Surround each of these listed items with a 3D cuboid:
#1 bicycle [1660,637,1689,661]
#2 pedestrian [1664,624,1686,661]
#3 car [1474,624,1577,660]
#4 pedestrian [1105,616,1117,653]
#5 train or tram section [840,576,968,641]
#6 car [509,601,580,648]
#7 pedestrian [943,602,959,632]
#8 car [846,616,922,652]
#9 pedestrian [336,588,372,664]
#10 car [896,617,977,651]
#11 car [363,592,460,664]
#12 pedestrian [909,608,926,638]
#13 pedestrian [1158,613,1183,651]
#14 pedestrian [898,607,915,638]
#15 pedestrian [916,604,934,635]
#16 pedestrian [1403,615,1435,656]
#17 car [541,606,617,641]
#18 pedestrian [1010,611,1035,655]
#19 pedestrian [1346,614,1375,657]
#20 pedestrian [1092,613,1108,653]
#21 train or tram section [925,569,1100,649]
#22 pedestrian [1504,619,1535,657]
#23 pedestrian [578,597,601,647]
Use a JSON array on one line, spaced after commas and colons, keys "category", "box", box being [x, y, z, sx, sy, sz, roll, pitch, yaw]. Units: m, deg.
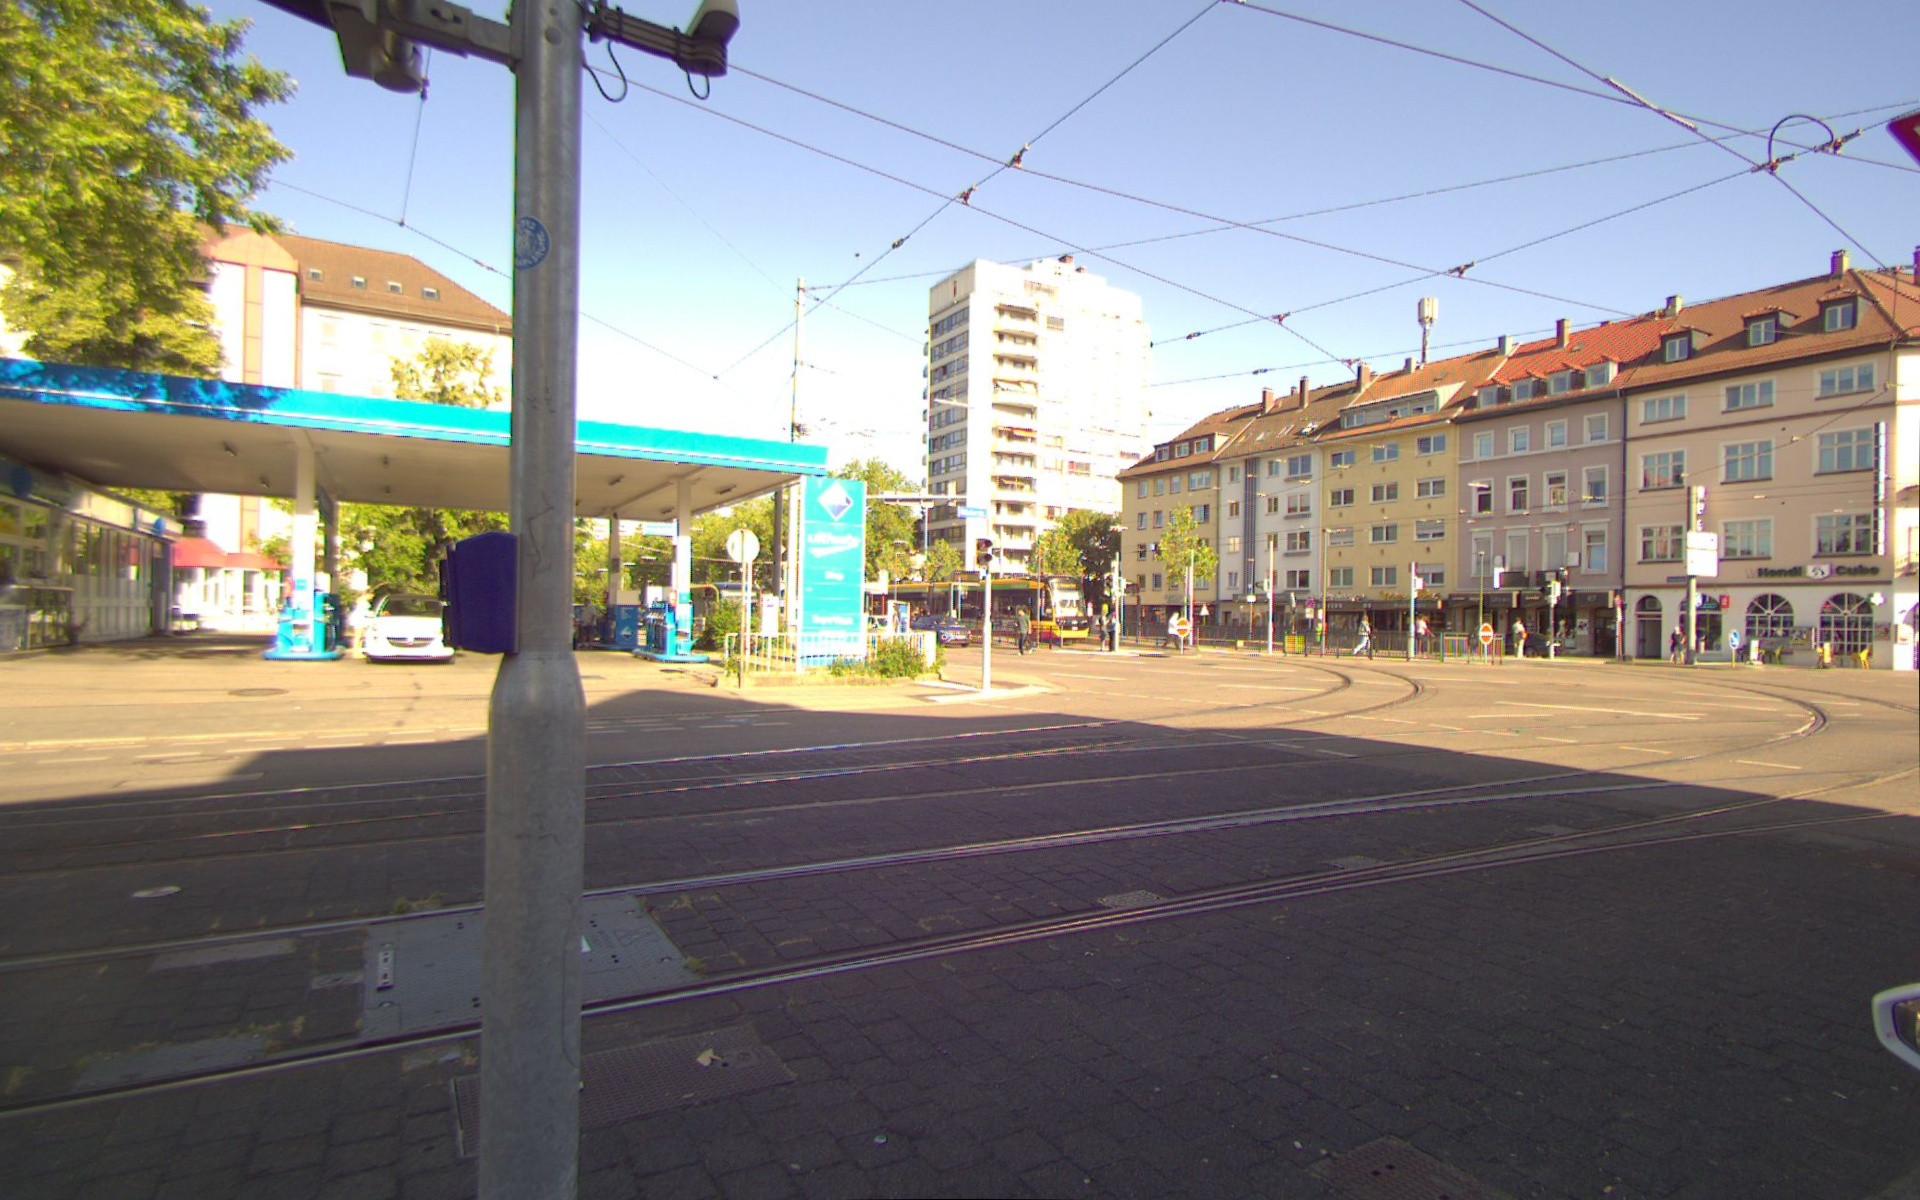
[{"category": "bicycle", "box": [34.124, 2.325, 47.962, 1.479, 1.091, 0.570, 2, 0, -30]}, {"category": "pedestrian", "box": [34.160, 2.030, 47.976, 0.743, 1.692, 0.579, 2, 0, -30]}, {"category": "car", "box": [30.824, 2.287, 54.854, 2.277, 1.734, 4.350, 2, 0, -27]}, {"category": "pedestrian", "box": [6.152, 1.403, 40.976, 0.472, 1.525, 0.462, 0, 0, 6]}, {"category": "train or tram section", "box": [-3.954, 0.591, 65.714, 2.907, 3.864, 12.716, 1, -1, -30]}, {"category": "car", "box": [-13.549, 0.782, 32.686, 1.737, 1.461, 3.543, 1, -1, -29]}, {"category": "pedestrian", "box": [-0.490, 0.939, 54.900, 0.607, 1.598, 0.827, 0, 0, -27]}, {"category": "car", "box": [-3.589, 1.549, 46.747, 1.871, 1.550, 3.963, 1, -1, -33]}, {"category": "pedestrian", "box": [-13.929, 0.589, 23.108, 0.640, 1.724, 0.497, 1, -1, -26]}, {"category": "car", "box": [-1.162, 1.613, 48.377, 1.875, 1.550, 3.955, 1, -2, -39]}, {"category": "car", "box": [-12.199, 0.603, 22.360, 1.737, 1.461, 3.543, 1, -1, -29]}, {"category": "pedestrian", "box": [-2.470, 1.326, 58.326, 0.747, 1.756, 0.797, 0, 0, -28]}, {"category": "pedestrian", "box": [9.180, 1.393, 43.794, 0.867, 1.598, 0.665, 2, 0, -2]}, {"category": "pedestrian", "box": [-3.105, 1.306, 58.102, 0.747, 1.756, 0.797, 0, 0, -28]}, {"category": "pedestrian", "box": [-1.990, 1.090, 56.382, 0.747, 1.756, 0.797, 0, 0, -28]}, {"category": "pedestrian", "box": [18.074, 1.393, 39.543, 0.821, 1.598, 0.724, 2, 0, -20]}, {"category": "car", "box": [-16.862, 1.039, 44.611, 1.722, 1.461, 3.572, 1, -1, 5]}, {"category": "pedestrian", "box": [2.456, 1.307, 39.444, 0.752, 1.702, 0.555, 1, -1, -33]}, {"category": "pedestrian", "box": [15.397, 1.357, 38.631, 0.817, 1.598, 0.552, 2, 0, -2]}, {"category": "pedestrian", "box": [5.854, 1.389, 41.975, 0.626, 1.666, 0.462, 0, 0, 6]}, {"category": "train or tram section", "box": [2.451, 0.503, 54.622, 2.907, 3.864, 12.948, 1, -1, -30]}, {"category": "pedestrian", "box": [24.512, 1.668, 44.010, 0.821, 1.598, 0.847, 2, 0, -20]}, {"category": "pedestrian", "box": [-12.706, 0.749, 34.434, 0.491, 1.724, 0.499, 0, -1, 29]}]
